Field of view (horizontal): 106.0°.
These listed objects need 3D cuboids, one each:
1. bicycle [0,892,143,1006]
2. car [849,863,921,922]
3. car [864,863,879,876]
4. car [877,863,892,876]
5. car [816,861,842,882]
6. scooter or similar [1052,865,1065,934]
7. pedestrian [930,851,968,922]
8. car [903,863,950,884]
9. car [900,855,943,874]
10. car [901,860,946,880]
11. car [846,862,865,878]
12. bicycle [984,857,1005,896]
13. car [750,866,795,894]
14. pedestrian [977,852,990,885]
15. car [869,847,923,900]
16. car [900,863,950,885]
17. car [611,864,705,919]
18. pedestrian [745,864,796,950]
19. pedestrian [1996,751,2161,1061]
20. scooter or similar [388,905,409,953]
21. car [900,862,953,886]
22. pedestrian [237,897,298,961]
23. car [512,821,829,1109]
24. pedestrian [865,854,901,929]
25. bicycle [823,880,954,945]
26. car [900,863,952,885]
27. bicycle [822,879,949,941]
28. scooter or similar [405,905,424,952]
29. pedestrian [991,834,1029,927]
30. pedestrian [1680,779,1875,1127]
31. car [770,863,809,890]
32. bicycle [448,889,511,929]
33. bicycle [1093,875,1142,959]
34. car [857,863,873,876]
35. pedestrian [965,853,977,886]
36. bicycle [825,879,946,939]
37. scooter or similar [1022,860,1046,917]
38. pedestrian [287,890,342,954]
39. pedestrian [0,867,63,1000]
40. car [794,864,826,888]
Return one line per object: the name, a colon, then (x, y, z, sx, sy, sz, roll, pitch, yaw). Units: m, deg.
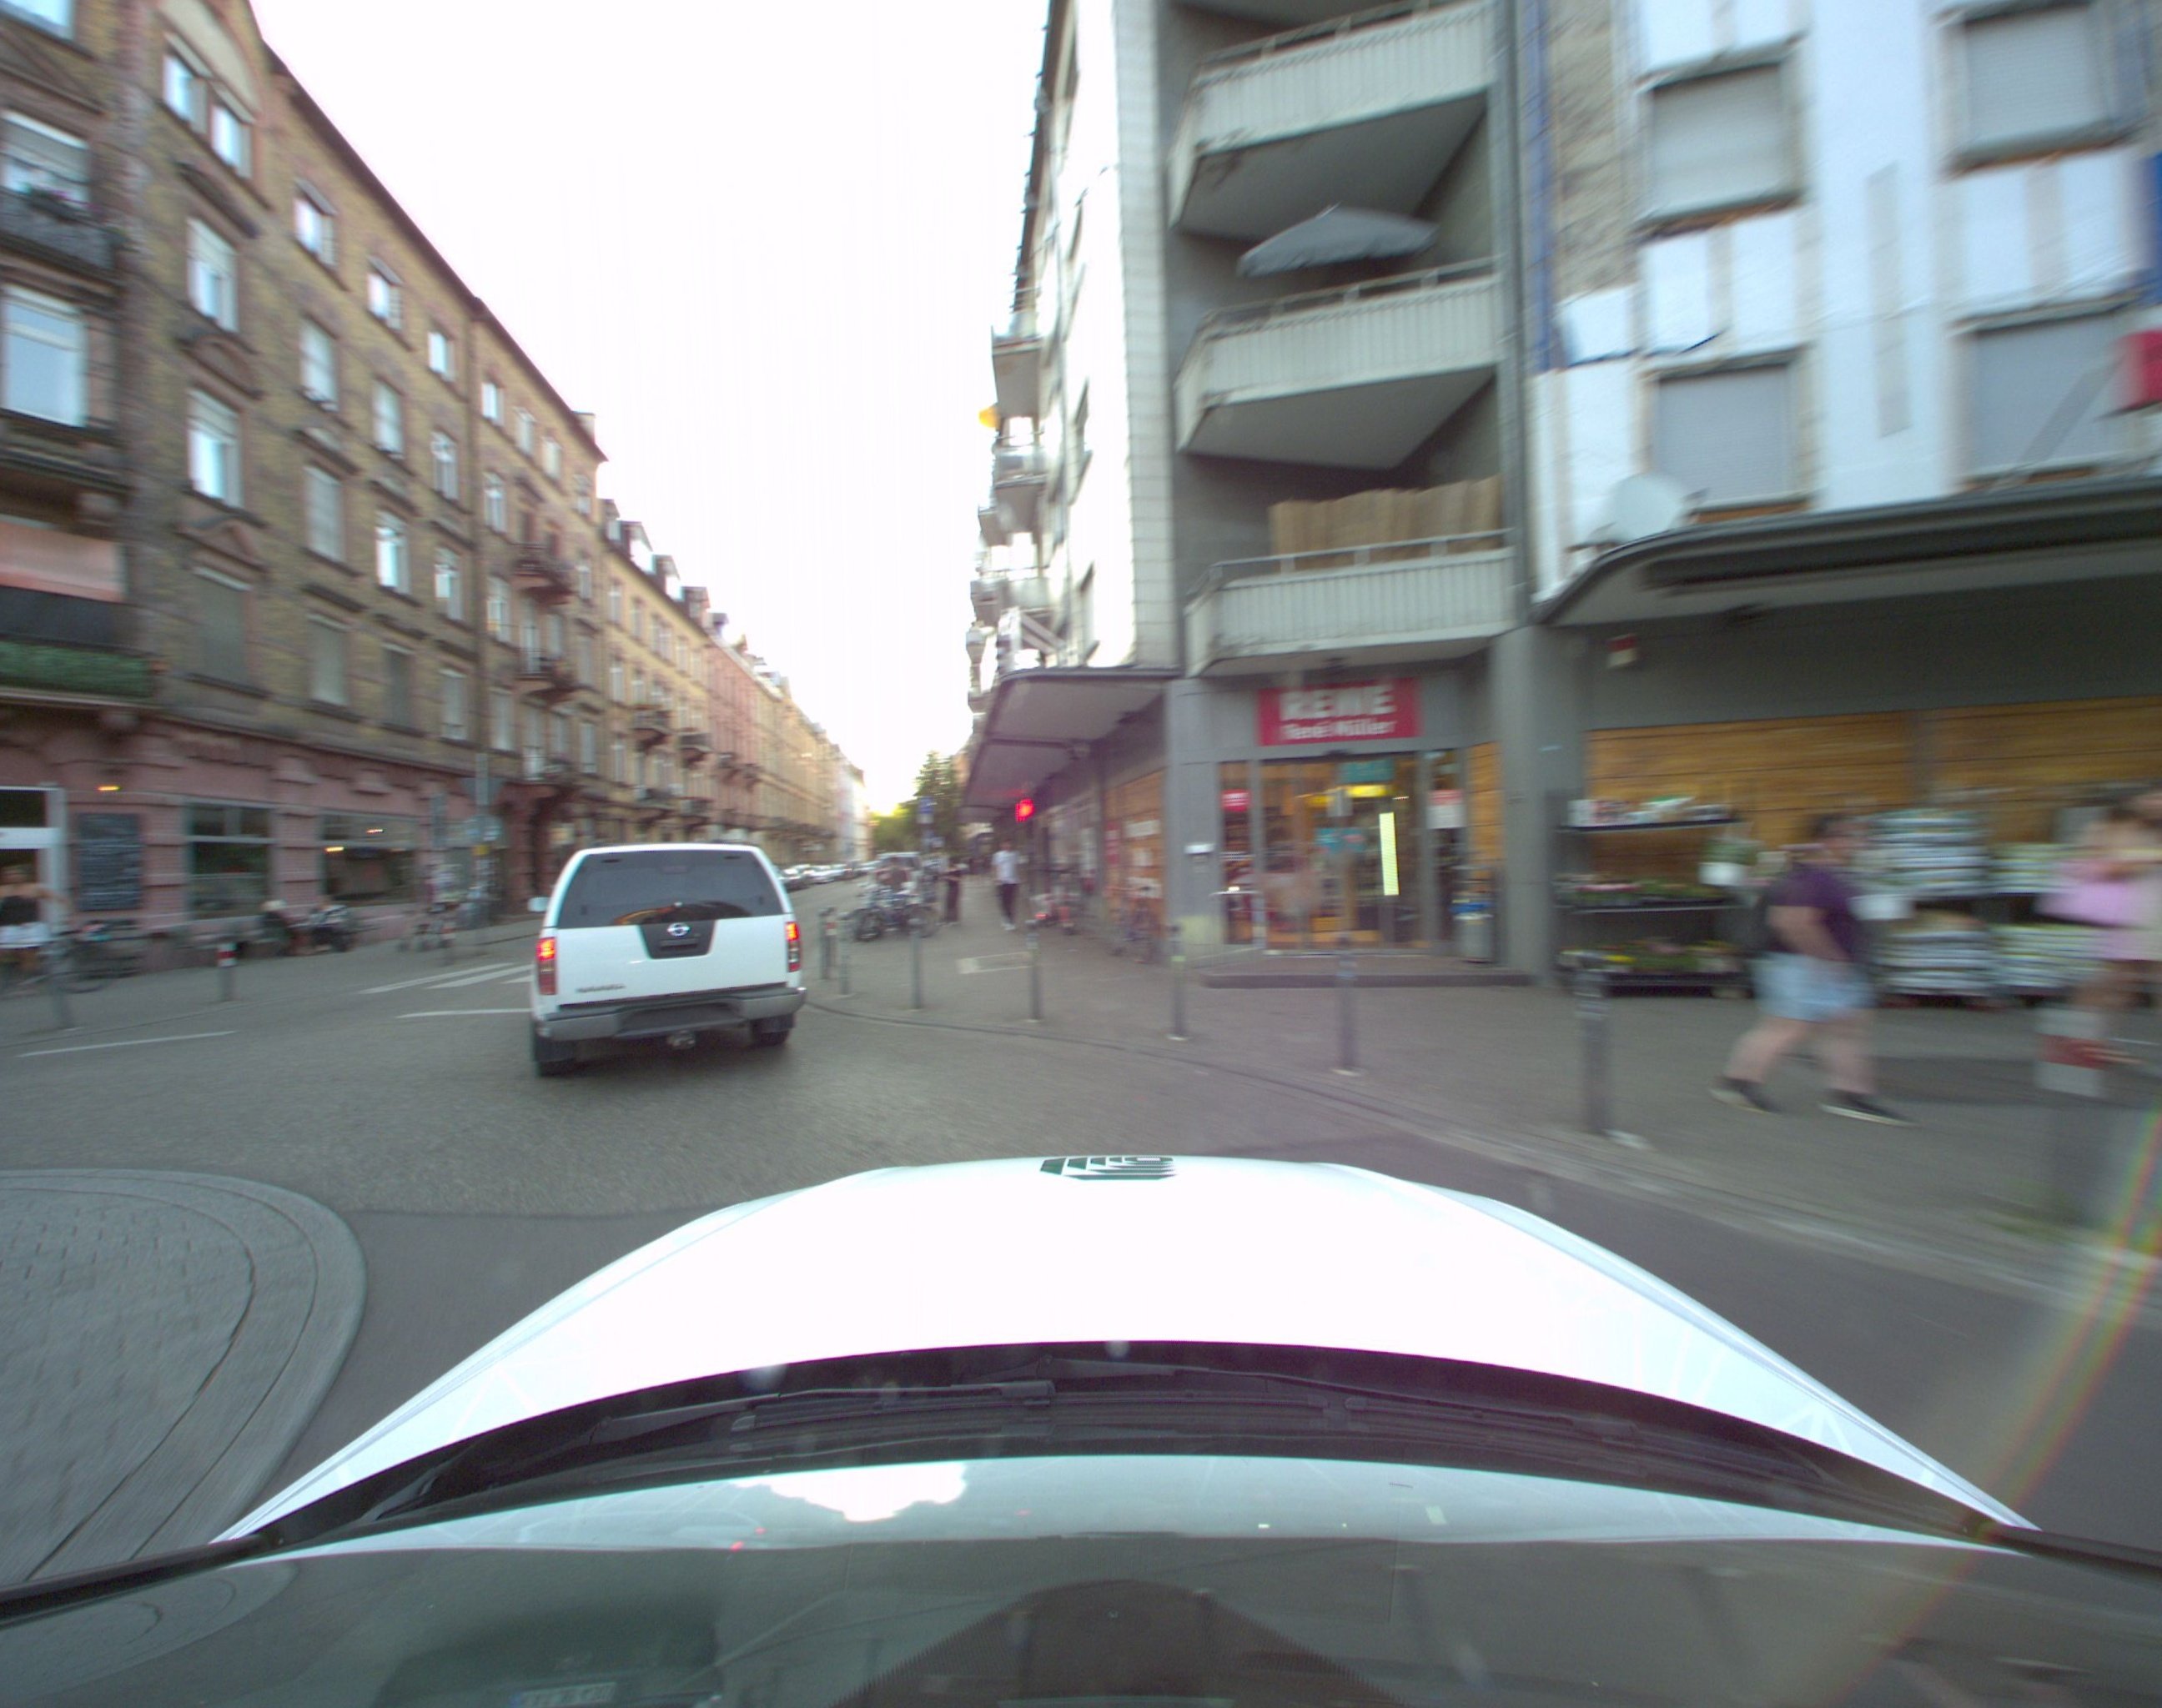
bicycle: (-14.449, 1.290, 11.590, 0.424, 1.442, 1.895, 0, -1, -14)
car: (-5.635, 1.070, 23.824, 1.835, 1.542, 3.985, -1, -1, -11)
car: (-30.822, 2.263, 119.897, 1.835, 1.750, 3.985, -1, -1, -11)
car: (-27.640, 2.144, 114.412, 1.835, 1.750, 3.985, -1, -1, -11)
car: (-22.550, 1.541, 72.980, 1.835, 1.750, 3.985, -1, -1, -11)
scooter or similar: (-0.434, 0.840, 15.469, 0.219, 1.237, 0.965, -1, 1, -3)
pedestrian: (-3.155, 0.772, 19.519, 0.716, 1.663, 0.703, -1, -1, 5)
car: (-13.428, 1.678, 70.951, 3.989, 1.750, 1.833, -1, -1, -12)
car: (-15.259, 0.992, 78.187, 3.989, 1.750, 1.833, -1, -1, -12)
car: (-14.506, 1.492, 75.207, 3.989, 1.750, 1.833, -1, -1, -12)
car: (-26.199, 1.855, 94.679, 1.835, 1.750, 3.985, -1, -1, -11)
bicycle: (-3.321, 0.849, 31.218, 0.556, 1.408, 2.086, -1, -1, -12)
car: (-18.380, 1.523, 48.714, 1.835, 1.546, 4.022, -1, -1, -11)
pedestrian: (-5.368, 0.791, 44.744, 0.632, 1.811, 0.485, -1, -1, 2)
car: (-7.284, 0.752, 32.422, 1.943, 1.934, 3.985, -1, -1, -11)
car: (-13.027, 1.633, 68.070, 3.989, 1.750, 1.833, -1, -1, -12)
car: (-14.668, 1.241, 28.484, 1.835, 1.750, 3.985, -1, -1, -11)
pedestrian: (-6.074, 1.019, 15.981, 0.798, 1.621, 0.940, -1, -1, -13)
pedestrian: (6.173, 0.291, 4.884, 0.658, 1.726, 0.727, -1, -1, 28)
scooter or similar: (-14.584, 1.587, 17.409, 0.235, 0.929, 1.252, 0, -1, -35)
car: (-12.001, 1.554, 63.297, 3.989, 1.750, 1.833, -1, -1, -12)
pedestrian: (-15.930, 1.451, 15.953, 0.649, 1.191, 0.537, -1, -1, -14)
car: (-4.107, 0.757, 7.798, 1.952, 1.810, 4.949, -2, -1, -33)
pedestrian: (-4.526, 0.838, 18.645, 0.720, 1.663, 0.700, -1, -1, -10)
bicycle: (-3.869, 1.153, 16.461, 2.466, 1.038, 0.613, -5, 0, -15)
car: (-12.443, 1.590, 65.483, 3.989, 1.750, 1.833, -1, -1, -12)
bicycle: (-4.088, 1.157, 17.109, 2.466, 1.038, 0.613, -5, 0, -16)
scooter or similar: (-14.371, 1.586, 17.567, 0.235, 0.929, 1.252, 0, -1, -35)
pedestrian: (-1.512, 0.552, 17.169, 0.720, 1.906, 0.700, -1, -1, -10)
pedestrian: (3.693, 0.476, 4.374, 0.709, 1.652, 0.718, -2, -1, 38)
car: (-19.175, 1.437, 53.684, 1.835, 1.678, 4.022, -1, -1, -11)
bicycle: (-17.635, 1.577, 23.952, 0.387, 1.036, 2.474, -1, -1, -9)
bicycle: (0.502, 0.859, 11.442, 0.290, 1.112, 0.959, 0, -1, -22)
car: (-30.079, 2.167, 113.631, 1.835, 1.750, 3.985, -1, -1, -11)
pedestrian: (-6.118, 0.835, 45.110, 0.626, 1.811, 0.786, -1, -1, -10)
bicycle: (-4.242, 1.168, 17.759, 2.466, 1.038, 0.613, -5, 0, -16)
scooter or similar: (-1.125, 0.792, 19.324, 0.439, 1.290, 1.663, -1, -1, -8)
pedestrian: (-16.106, 1.422, 17.123, 0.649, 1.286, 0.537, -1, -1, -14)
pedestrian: (-14.980, 1.103, 11.553, 0.507, 1.840, 0.567, 0, -1, -33)
car: (-21.157, 1.689, 63.662, 1.835, 1.750, 3.985, -1, -1, -11)
